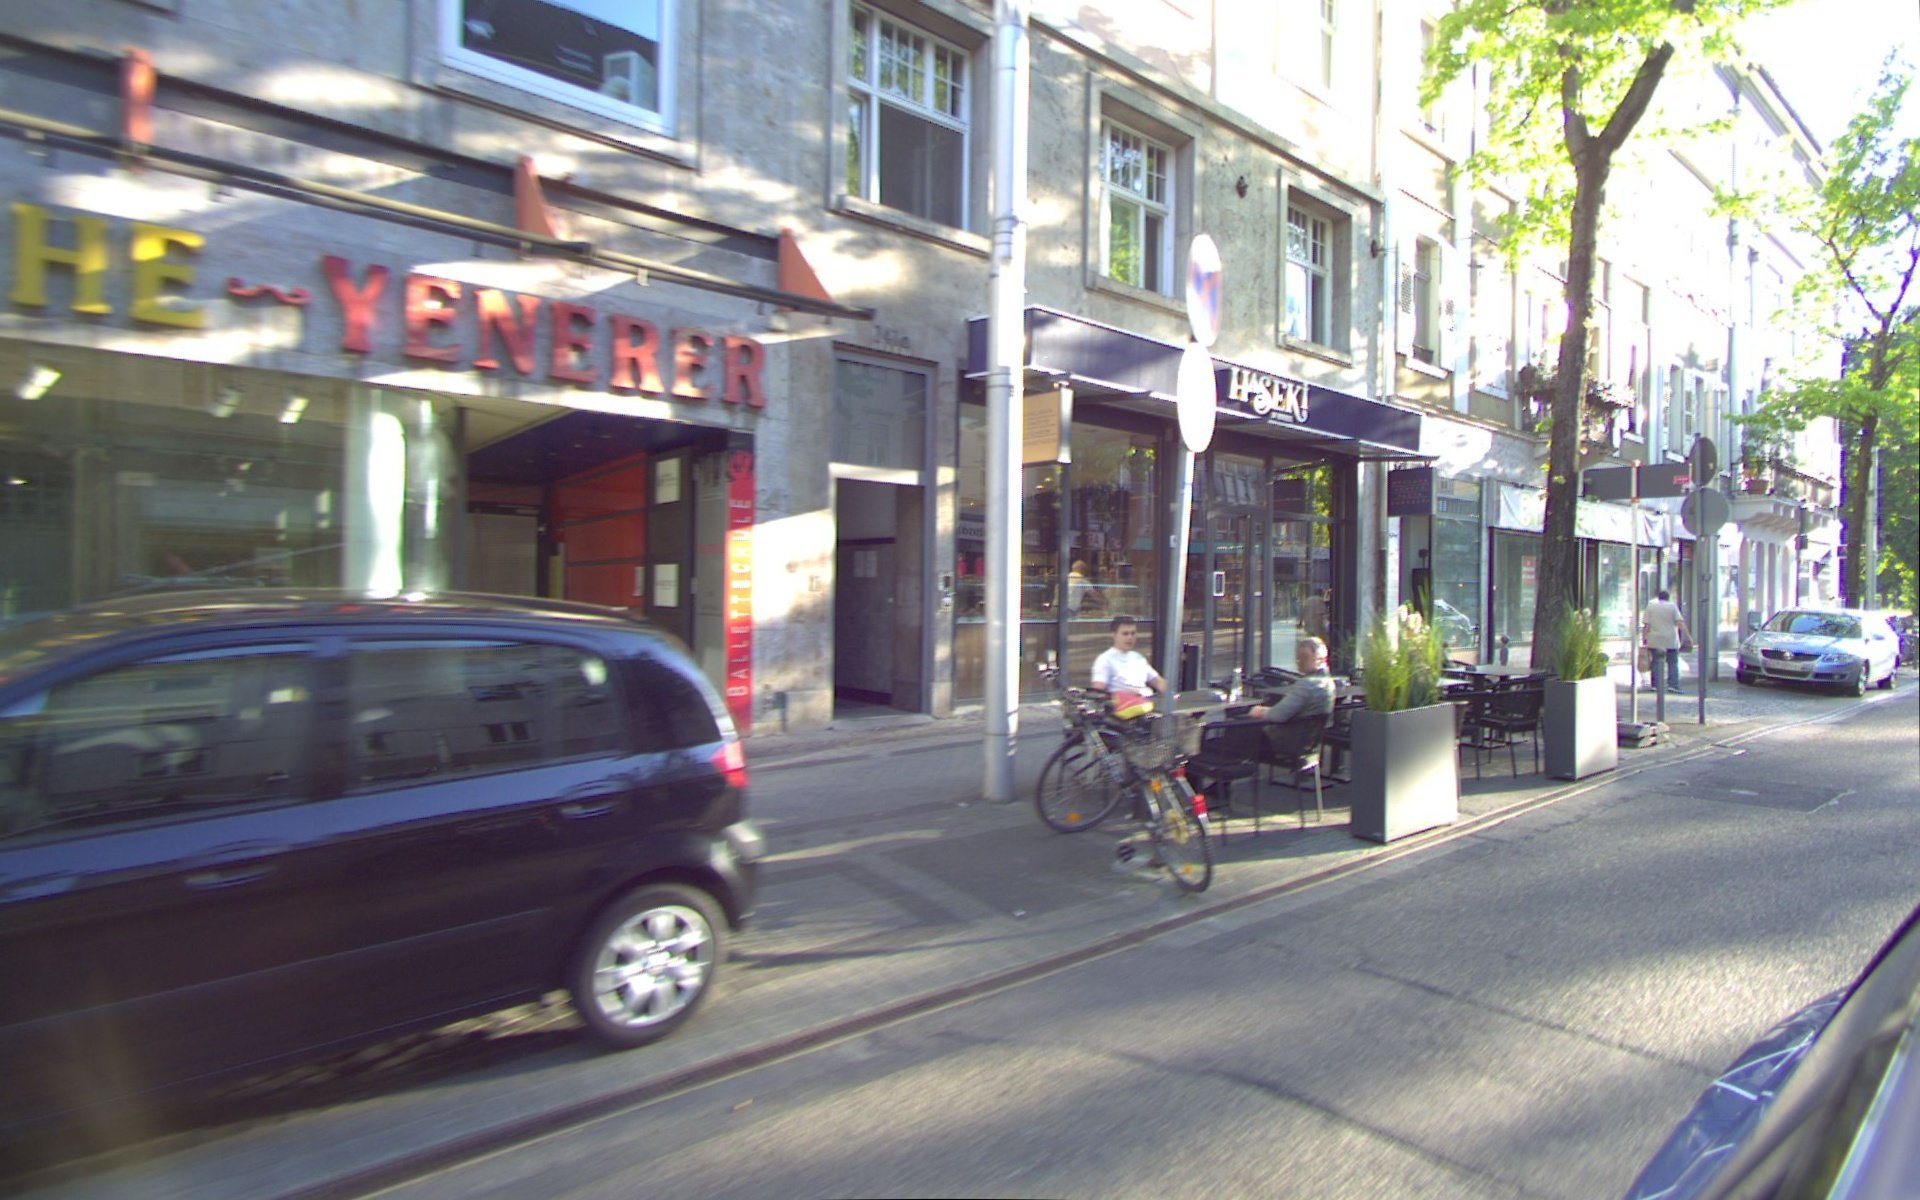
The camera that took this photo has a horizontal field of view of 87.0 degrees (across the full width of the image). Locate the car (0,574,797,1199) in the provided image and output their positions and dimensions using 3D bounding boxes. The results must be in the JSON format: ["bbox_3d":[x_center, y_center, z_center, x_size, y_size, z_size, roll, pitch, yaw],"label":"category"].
[{"bbox_3d":[-2.532,0.682,3.181,3.592,1.476,1.803,-1,3,-42],"label":"car"}]

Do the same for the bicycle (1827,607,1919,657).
[{"bbox_3d":[22.661,0.765,24.953,0.552,1.169,1.871,0,1,-37],"label":"bicycle"}]

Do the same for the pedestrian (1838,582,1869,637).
[{"bbox_3d":[33.341,0.345,37.778,0.843,2.039,0.831,0,0,42],"label":"pedestrian"}]

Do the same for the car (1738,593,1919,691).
[{"bbox_3d":[16.041,0.678,18.580,4.343,1.457,1.781,-1,4,-39],"label":"car"}]

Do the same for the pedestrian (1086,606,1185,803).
[{"bbox_3d":[1.356,0.756,7.747,0.699,1.404,0.744,1,0,13],"label":"pedestrian"}]

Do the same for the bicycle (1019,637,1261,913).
[{"bbox_3d":[0.915,0.859,5.654,0.535,1.152,1.736,0,2,-19],"label":"bicycle"}]

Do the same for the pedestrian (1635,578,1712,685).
[{"bbox_3d":[11.543,0.493,16.375,0.742,1.663,0.805,0,1,-39],"label":"pedestrian"}]

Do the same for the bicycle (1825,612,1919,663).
[{"bbox_3d":[22.243,0.888,24.532,0.552,1.169,1.871,0,1,-37],"label":"bicycle"}]

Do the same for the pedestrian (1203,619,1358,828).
[{"bbox_3d":[2.161,0.788,6.866,0.575,1.281,0.820,0,0,-34],"label":"pedestrian"}]

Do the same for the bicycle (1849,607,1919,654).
[{"bbox_3d":[24.562,0.794,26.513,0.341,1.169,1.871,0,1,-37],"label":"bicycle"}]

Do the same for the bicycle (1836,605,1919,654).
[{"bbox_3d":[23.628,0.739,25.824,0.552,1.169,1.871,0,1,-37],"label":"bicycle"}]

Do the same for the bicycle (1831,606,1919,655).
[{"bbox_3d":[23.117,0.748,25.363,0.552,1.169,1.871,0,1,-37],"label":"bicycle"}]

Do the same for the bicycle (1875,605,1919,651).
[{"bbox_3d":[25.334,0.727,27.061,0.454,1.169,1.676,0,1,10],"label":"bicycle"}]

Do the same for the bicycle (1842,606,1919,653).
[{"bbox_3d":[24.126,0.745,26.212,0.552,1.169,1.871,0,1,-37],"label":"bicycle"}]
